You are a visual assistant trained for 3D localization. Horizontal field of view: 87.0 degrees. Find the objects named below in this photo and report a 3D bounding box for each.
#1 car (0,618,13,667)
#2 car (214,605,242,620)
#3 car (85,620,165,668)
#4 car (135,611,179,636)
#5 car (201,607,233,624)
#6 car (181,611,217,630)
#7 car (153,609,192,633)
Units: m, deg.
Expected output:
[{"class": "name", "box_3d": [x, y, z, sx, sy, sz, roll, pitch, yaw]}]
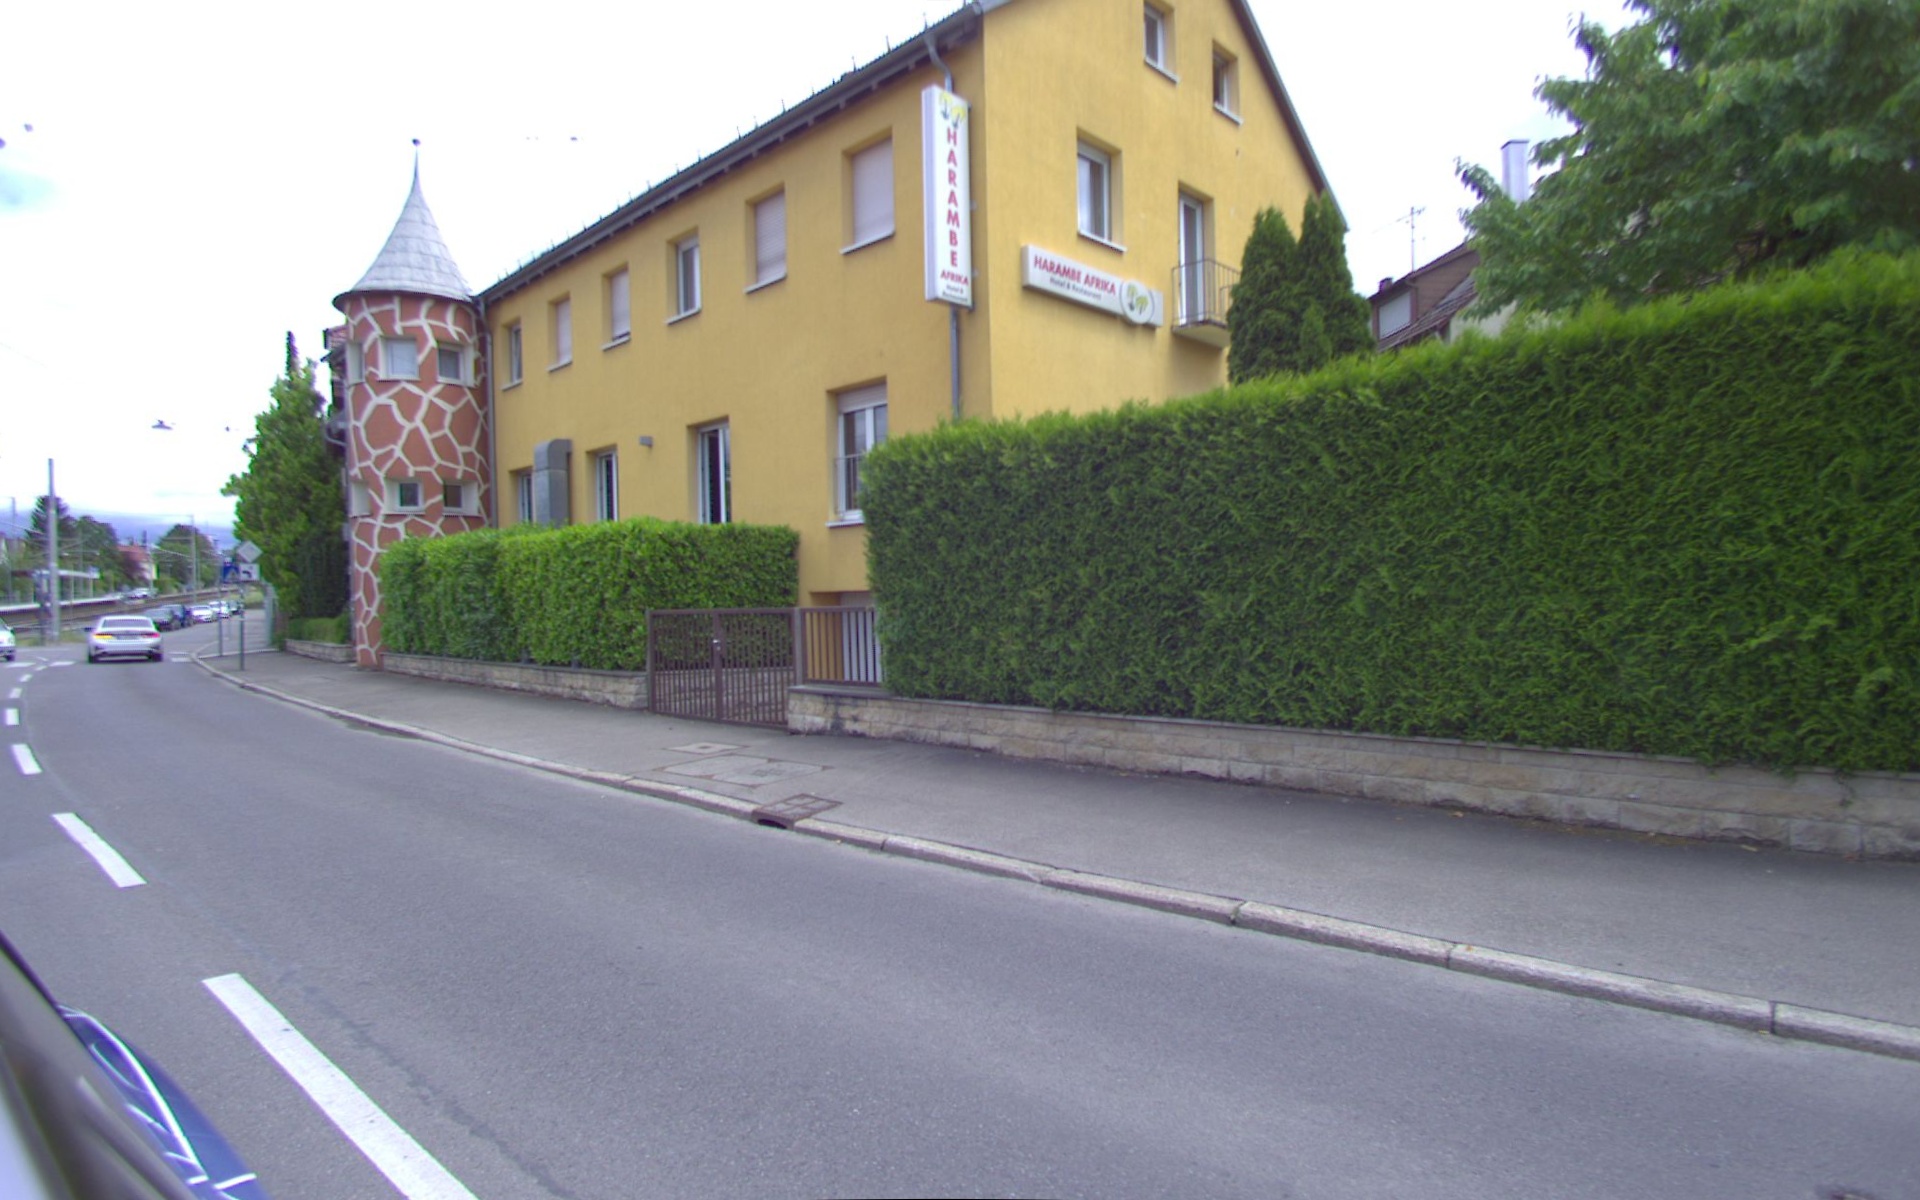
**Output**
[{"class": "car", "box_3d": [-32.878, 1.440, 33.590, 3.925, 1.580, 1.704, -1, 1, 41]}, {"class": "car", "box_3d": [-72.164, 1.189, 99.782, 1.823, 1.386, 4.012, -2, 1, -31]}, {"class": "car", "box_3d": [-26.867, 1.385, 32.674, 1.795, 1.430, 4.472, 2, -2, -38]}, {"class": "car", "box_3d": [-52.137, 1.487, 65.789, 1.792, 1.513, 4.131, -2, 1, -33]}, {"class": "car", "box_3d": [-66.003, 1.397, 89.954, 1.823, 1.386, 4.012, -2, 1, -31]}, {"class": "car", "box_3d": [-60.313, 1.590, 80.223, 1.823, 1.386, 4.012, -2, 1, -31]}, {"class": "car", "box_3d": [-55.296, 1.449, 71.104, 1.792, 1.513, 4.131, -2, 1, -33]}]
